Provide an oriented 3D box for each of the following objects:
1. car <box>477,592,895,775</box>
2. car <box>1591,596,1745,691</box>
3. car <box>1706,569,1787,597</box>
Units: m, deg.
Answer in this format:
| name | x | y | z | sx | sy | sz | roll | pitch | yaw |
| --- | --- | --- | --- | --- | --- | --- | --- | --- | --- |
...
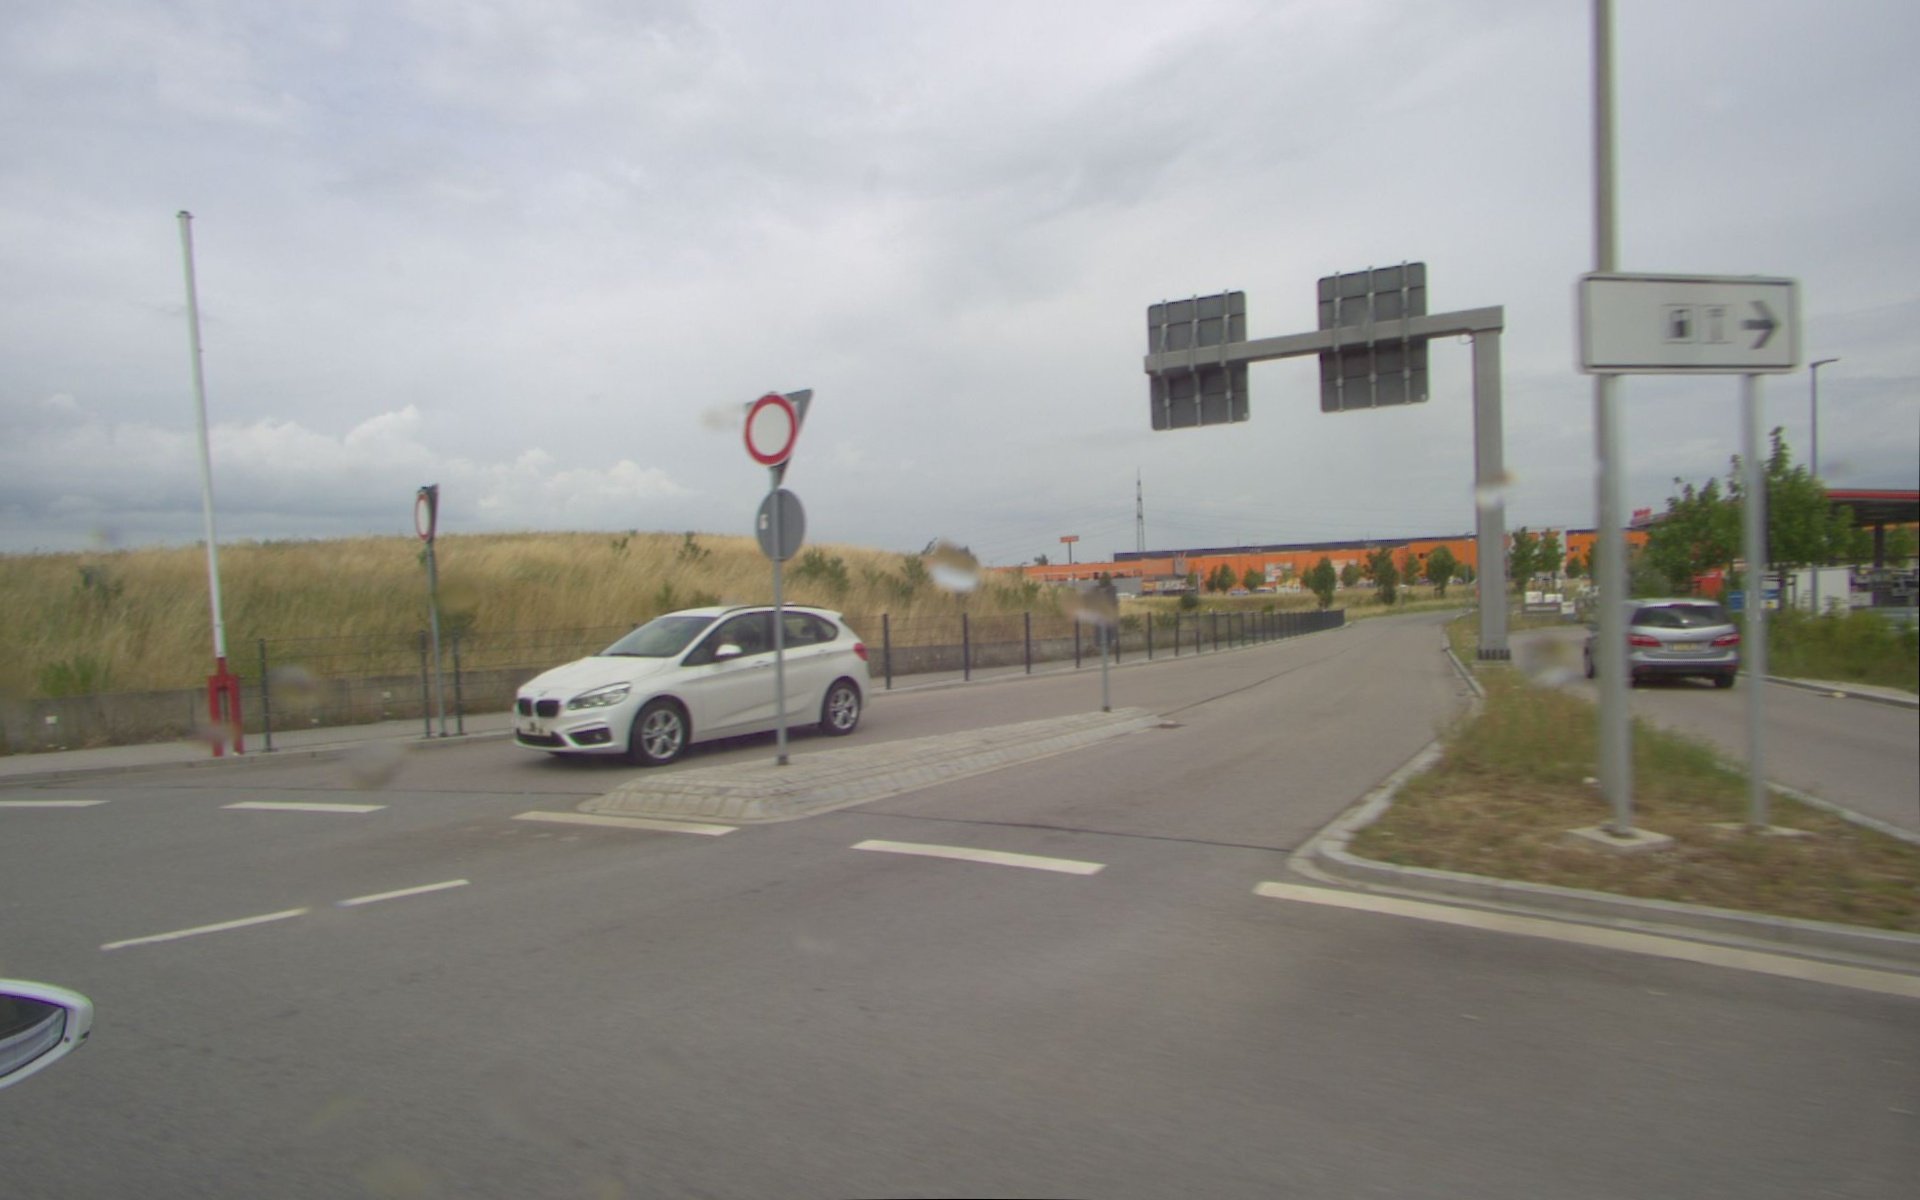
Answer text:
| name | x | y | z | sx | sy | sz | roll | pitch | yaw |
| --- | --- | --- | --- | --- | --- | --- | --- | --- | --- |
| car | -2.840 | 0.771 | 11.324 | 1.762 | 1.650 | 4.397 | -2 | -1 | 37 |
| car | 13.212 | 0.778 | 18.925 | 1.888 | 1.594 | 3.983 | -1 | -1 | 29 |
| car | 51.555 | -1.095 | 65.712 | 3.765 | 1.817 | 1.715 | 0 | 0 | 9 |
